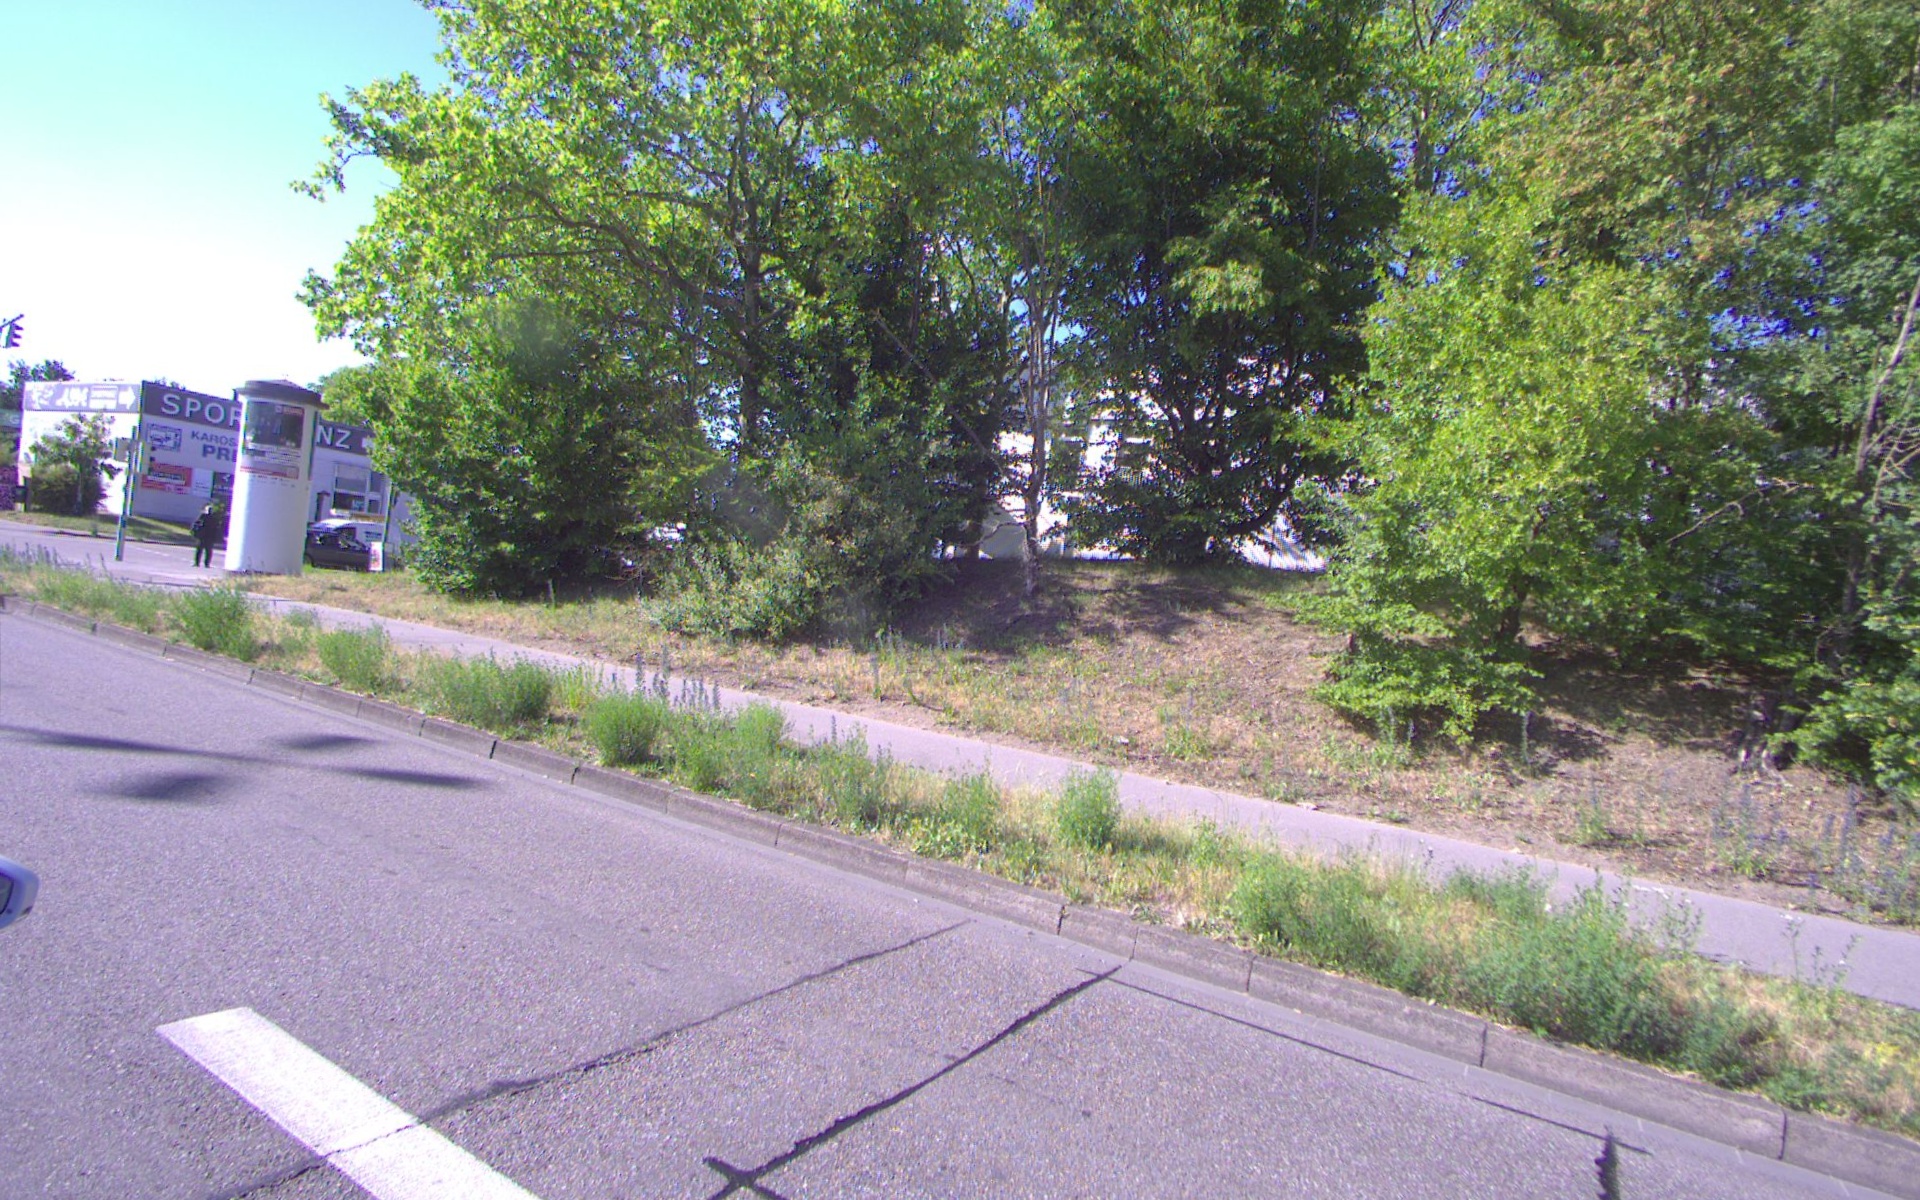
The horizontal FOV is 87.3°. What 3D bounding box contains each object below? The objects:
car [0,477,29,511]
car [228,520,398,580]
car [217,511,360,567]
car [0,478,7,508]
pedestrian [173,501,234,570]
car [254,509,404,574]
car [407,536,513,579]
[{"bbox_3d":[-46.870,-5.220,47.089,1.828,1.472,4.490,7,1,33],"label":"car"},{"bbox_3d":[-21.646,-1.629,33.830,1.736,1.509,4.412,7,1,33],"label":"car"},{"bbox_3d":[-26.602,-2.374,40.009,1.735,1.568,4.292,9,1,30],"label":"car"},{"bbox_3d":[-49.221,-5.486,48.458,1.828,1.472,4.490,7,1,33],"label":"car"},{"bbox_3d":[-21.051,-1.793,27.999,0.923,1.755,0.927,6,-1,31],"label":"pedestrian"},{"bbox_3d":[-23.866,-2.157,38.203,1.735,1.824,4.387,9,1,30],"label":"car"},{"bbox_3d":[-23.014,-1.941,46.441,1.752,1.509,4.046,7,1,30],"label":"car"}]
